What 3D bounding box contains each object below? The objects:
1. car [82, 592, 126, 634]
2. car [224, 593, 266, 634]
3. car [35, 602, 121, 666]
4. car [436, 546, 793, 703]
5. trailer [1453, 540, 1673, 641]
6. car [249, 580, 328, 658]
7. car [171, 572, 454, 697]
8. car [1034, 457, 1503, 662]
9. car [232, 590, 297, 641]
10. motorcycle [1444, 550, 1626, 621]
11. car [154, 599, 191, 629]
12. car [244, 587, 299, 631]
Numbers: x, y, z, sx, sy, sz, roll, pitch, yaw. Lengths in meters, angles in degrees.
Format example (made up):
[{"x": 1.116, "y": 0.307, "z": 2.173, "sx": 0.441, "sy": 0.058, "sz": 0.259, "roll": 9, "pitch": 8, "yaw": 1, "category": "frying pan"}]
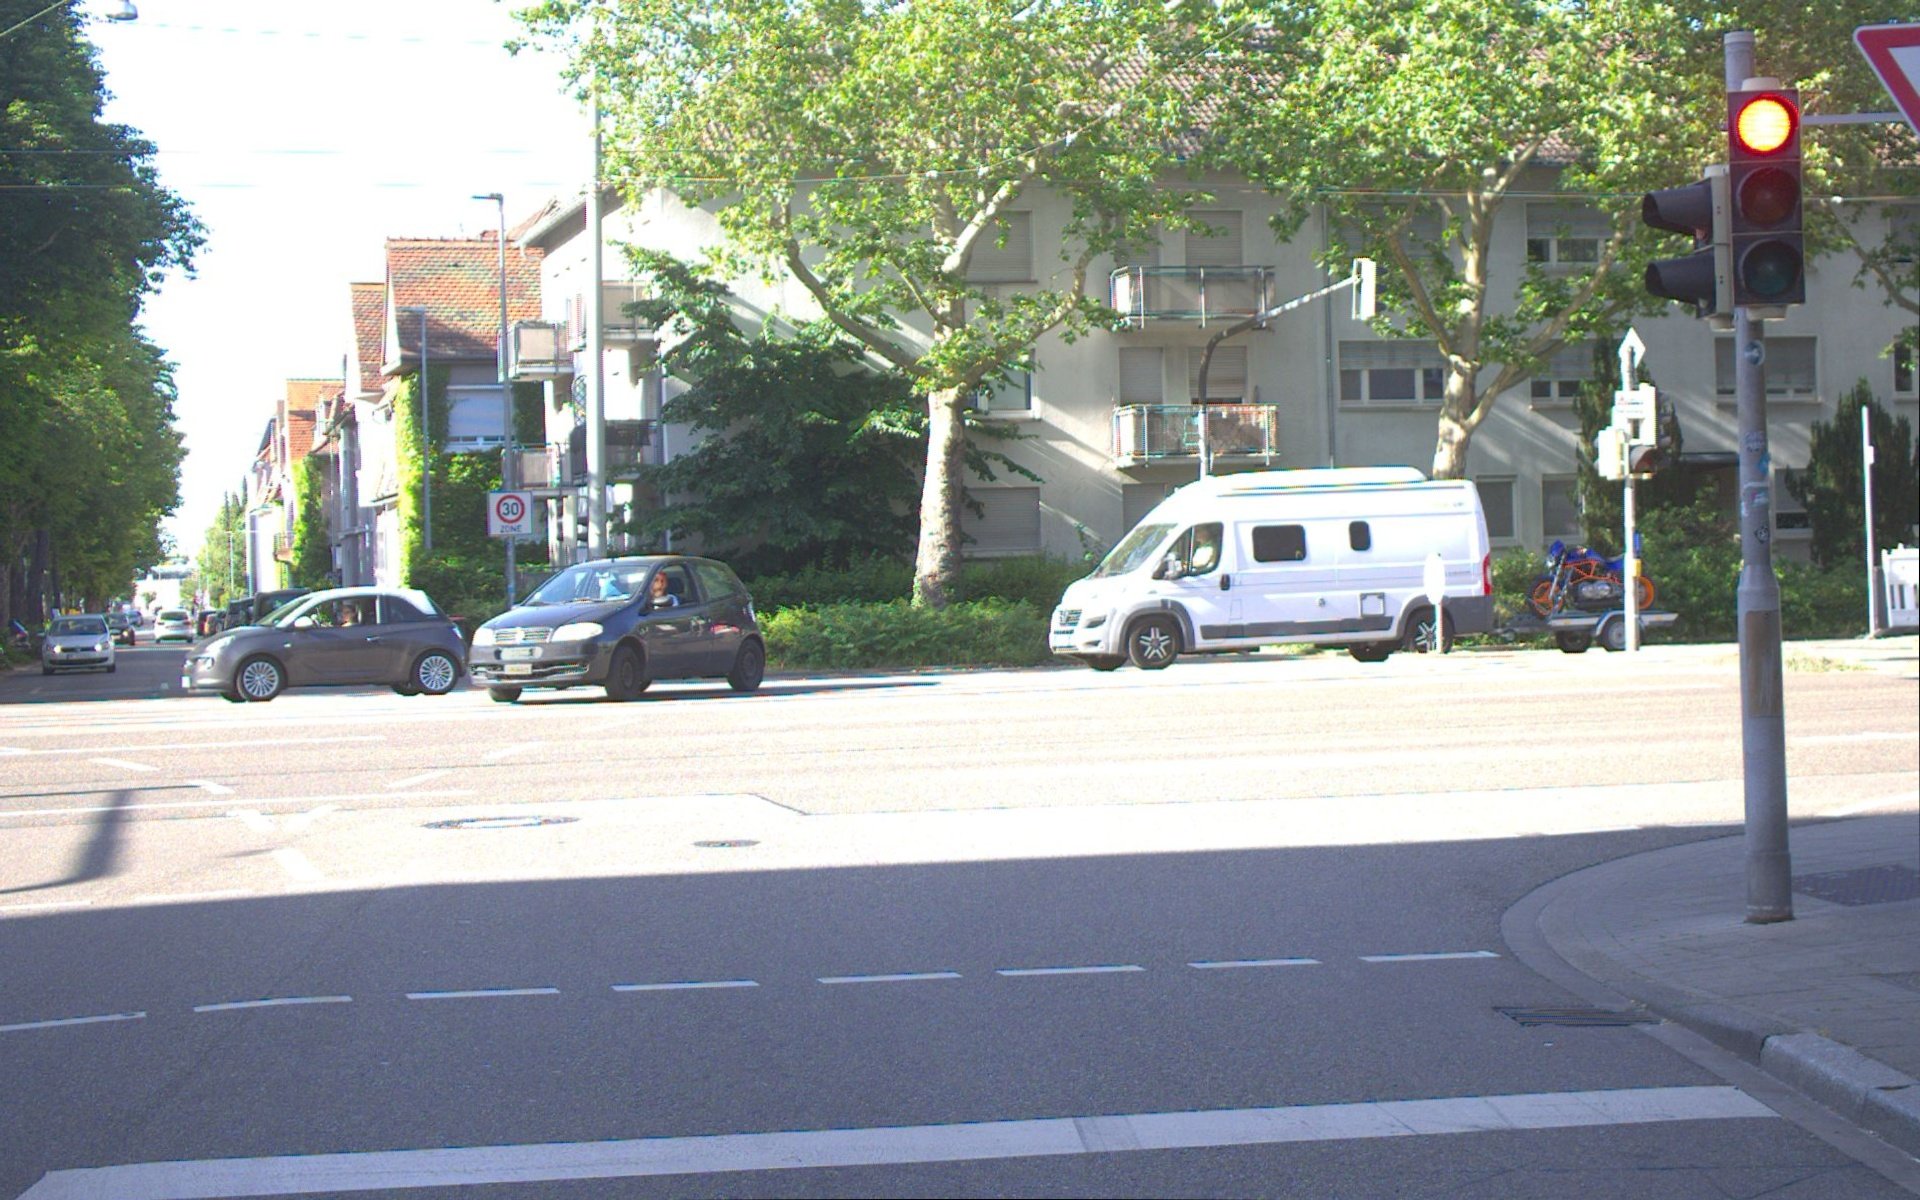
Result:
[{"x": -35.254, "y": 0.538, "z": 141.666, "sx": 1.546, "sy": 1.627, "sz": 3.235, "roll": -2, "pitch": 1, "yaw": -11, "category": "car"}, {"x": -30.357, "y": 0.546, "z": 146.040, "sx": 1.639, "sy": 1.627, "sz": 3.282, "roll": -2, "pitch": 1, "yaw": -11, "category": "car"}, {"x": -22.227, "y": 0.837, "z": 86.607, "sx": 1.993, "sy": 1.441, "sz": 4.001, "roll": -2, "pitch": 1, "yaw": -15, "category": "car"}, {"x": -3.504, "y": 0.222, "z": 35.596, "sx": 1.656, "sy": 1.446, "sz": 3.994, "roll": -1, "pitch": 1, "yaw": 29, "category": "car"}, {"x": 8.483, "y": -0.142, "z": 48.410, "sx": 2.739, "sy": 1.306, "sz": 1.271, "roll": -2, "pitch": 1, "yaw": -19, "category": "trailer"}, {"x": -18.469, "y": 0.501, "z": 94.725, "sx": 1.993, "sy": 2.007, "sz": 4.001, "roll": -2, "pitch": 1, "yaw": -10, "category": "car"}, {"x": -8.518, "y": 0.429, "z": 45.231, "sx": 3.379, "sy": 1.482, "sz": 1.525, "roll": -2, "pitch": 1, "yaw": -22, "category": "car"}, {"x": 4.238, "y": -0.581, "z": 47.187, "sx": 6.039, "sy": 2.559, "sz": 2.001, "roll": -2, "pitch": 1, "yaw": -18, "category": "car"}, {"x": -25.385, "y": 0.565, "z": 125.411, "sx": 1.993, "sy": 1.826, "sz": 4.001, "roll": -1, "pitch": 0, "yaw": -16, "category": "car"}, {"x": 10.394, "y": -0.265, "z": 62.239, "sx": 2.863, "sy": 1.174, "sz": 1.478, "roll": -2, "pitch": 1, "yaw": -16, "category": "motorcycle"}, {"x": -39.797, "y": 0.707, "z": 173.824, "sx": 1.673, "sy": 1.477, "sz": 3.523, "roll": -1, "pitch": 0, "yaw": -11, "category": "car"}, {"x": -23.239, "y": 0.299, "z": 115.993, "sx": 1.516, "sy": 1.485, "sz": 2.856, "roll": 0, "pitch": 0, "yaw": -17, "category": "car"}]
